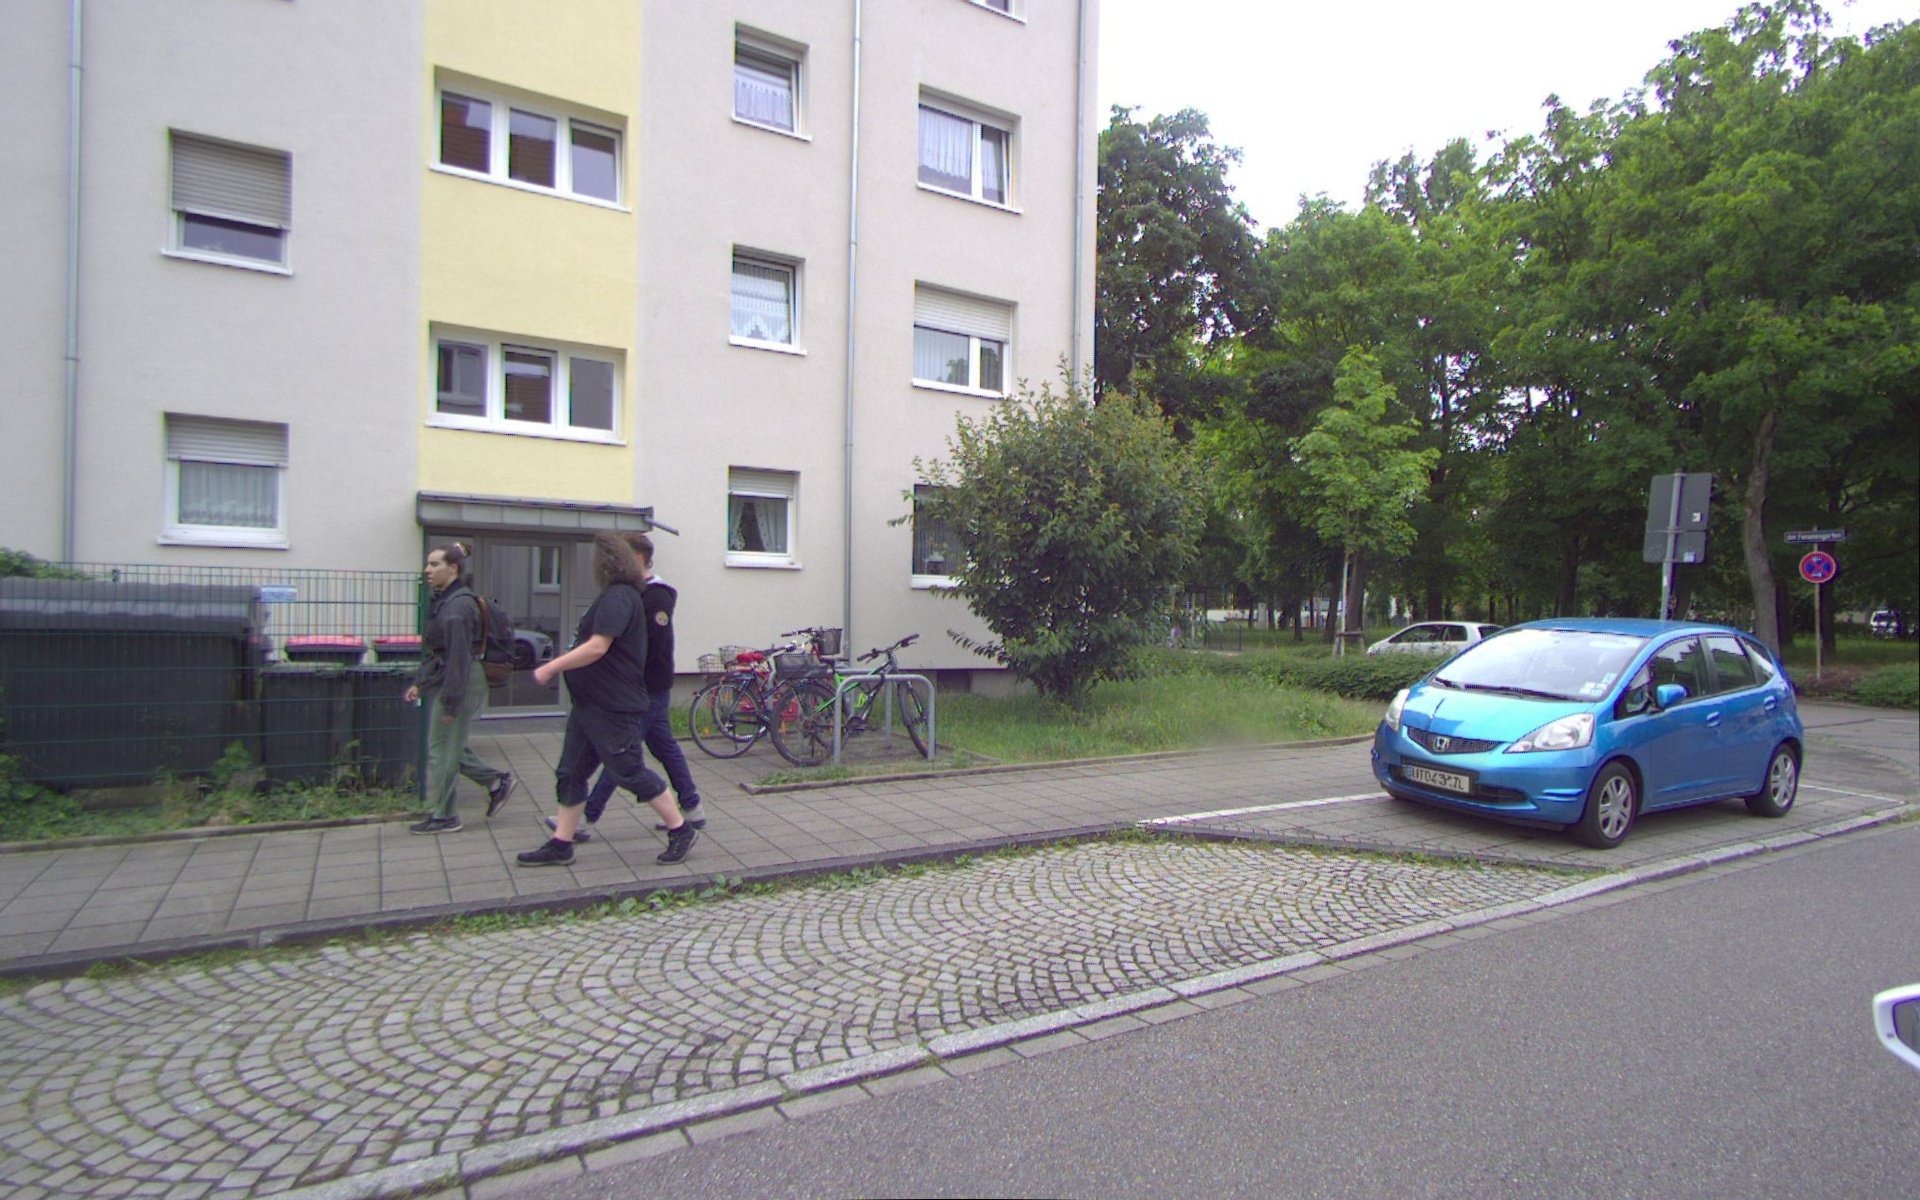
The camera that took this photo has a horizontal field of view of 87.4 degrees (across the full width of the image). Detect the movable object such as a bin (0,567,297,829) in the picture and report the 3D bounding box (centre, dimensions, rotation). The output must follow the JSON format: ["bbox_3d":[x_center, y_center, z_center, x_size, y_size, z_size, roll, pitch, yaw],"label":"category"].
[{"bbox_3d":[-5.289,0.540,6.437,1.652,1.440,1.581,1,0,-31],"label":"movable object such as a bin"}]

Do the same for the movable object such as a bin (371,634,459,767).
[{"bbox_3d":[-4.771,0.840,8.781,0.627,1.065,0.859,1,0,-32],"label":"movable object such as a bin"}]

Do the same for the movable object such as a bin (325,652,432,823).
[{"bbox_3d":[-3.894,0.891,6.730,0.591,1.047,0.534,1,0,-32],"label":"movable object such as a bin"}]

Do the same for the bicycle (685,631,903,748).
[{"bbox_3d":[-1.693,0.880,10.425,2.149,1.085,0.654,1,0,-30],"label":"bicycle"}]

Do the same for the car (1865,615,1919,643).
[{"bbox_3d":[57.192,1.751,61.407,3.959,1.639,1.906,1,-1,-34],"label":"car"}]

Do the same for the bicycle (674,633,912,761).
[{"bbox_3d":[-1.555,0.871,9.558,2.149,1.085,0.654,1,0,-30],"label":"bicycle"}]

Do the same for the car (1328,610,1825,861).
[{"bbox_3d":[4.972,0.883,8.003,3.911,1.482,1.721,1,2,-31],"label":"car"}]

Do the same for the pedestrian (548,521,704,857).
[{"bbox_3d":[-2.039,0.503,6.108,0.754,1.879,0.703,1,0,-31],"label":"pedestrian"}]

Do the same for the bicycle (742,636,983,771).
[{"bbox_3d":[-0.853,0.882,9.093,2.097,1.082,0.654,1,0,-30],"label":"bicycle"}]

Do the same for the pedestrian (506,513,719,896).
[{"bbox_3d":[-1.897,0.516,5.466,0.963,1.888,0.637,1,2,-31],"label":"pedestrian"}]

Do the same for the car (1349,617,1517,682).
[{"bbox_3d":[11.651,1.166,24.938,1.549,1.456,3.514,1,0,-31],"label":"car"}]

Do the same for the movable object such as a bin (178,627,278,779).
[{"bbox_3d":[-5.899,0.793,8.129,0.591,1.131,0.837,1,0,-33],"label":"movable object such as a bin"}]

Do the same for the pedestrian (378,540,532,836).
[{"bbox_3d":[-3.112,0.506,6.179,0.794,1.679,0.611,1,0,-31],"label":"pedestrian"}]

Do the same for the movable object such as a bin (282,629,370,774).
[{"bbox_3d":[-5.348,0.817,8.487,0.591,1.131,0.837,1,0,-33],"label":"movable object such as a bin"}]

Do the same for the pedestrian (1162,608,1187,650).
[{"bbox_3d":[8.357,1.127,39.105,0.648,1.604,0.693,0,0,-28],"label":"pedestrian"}]
